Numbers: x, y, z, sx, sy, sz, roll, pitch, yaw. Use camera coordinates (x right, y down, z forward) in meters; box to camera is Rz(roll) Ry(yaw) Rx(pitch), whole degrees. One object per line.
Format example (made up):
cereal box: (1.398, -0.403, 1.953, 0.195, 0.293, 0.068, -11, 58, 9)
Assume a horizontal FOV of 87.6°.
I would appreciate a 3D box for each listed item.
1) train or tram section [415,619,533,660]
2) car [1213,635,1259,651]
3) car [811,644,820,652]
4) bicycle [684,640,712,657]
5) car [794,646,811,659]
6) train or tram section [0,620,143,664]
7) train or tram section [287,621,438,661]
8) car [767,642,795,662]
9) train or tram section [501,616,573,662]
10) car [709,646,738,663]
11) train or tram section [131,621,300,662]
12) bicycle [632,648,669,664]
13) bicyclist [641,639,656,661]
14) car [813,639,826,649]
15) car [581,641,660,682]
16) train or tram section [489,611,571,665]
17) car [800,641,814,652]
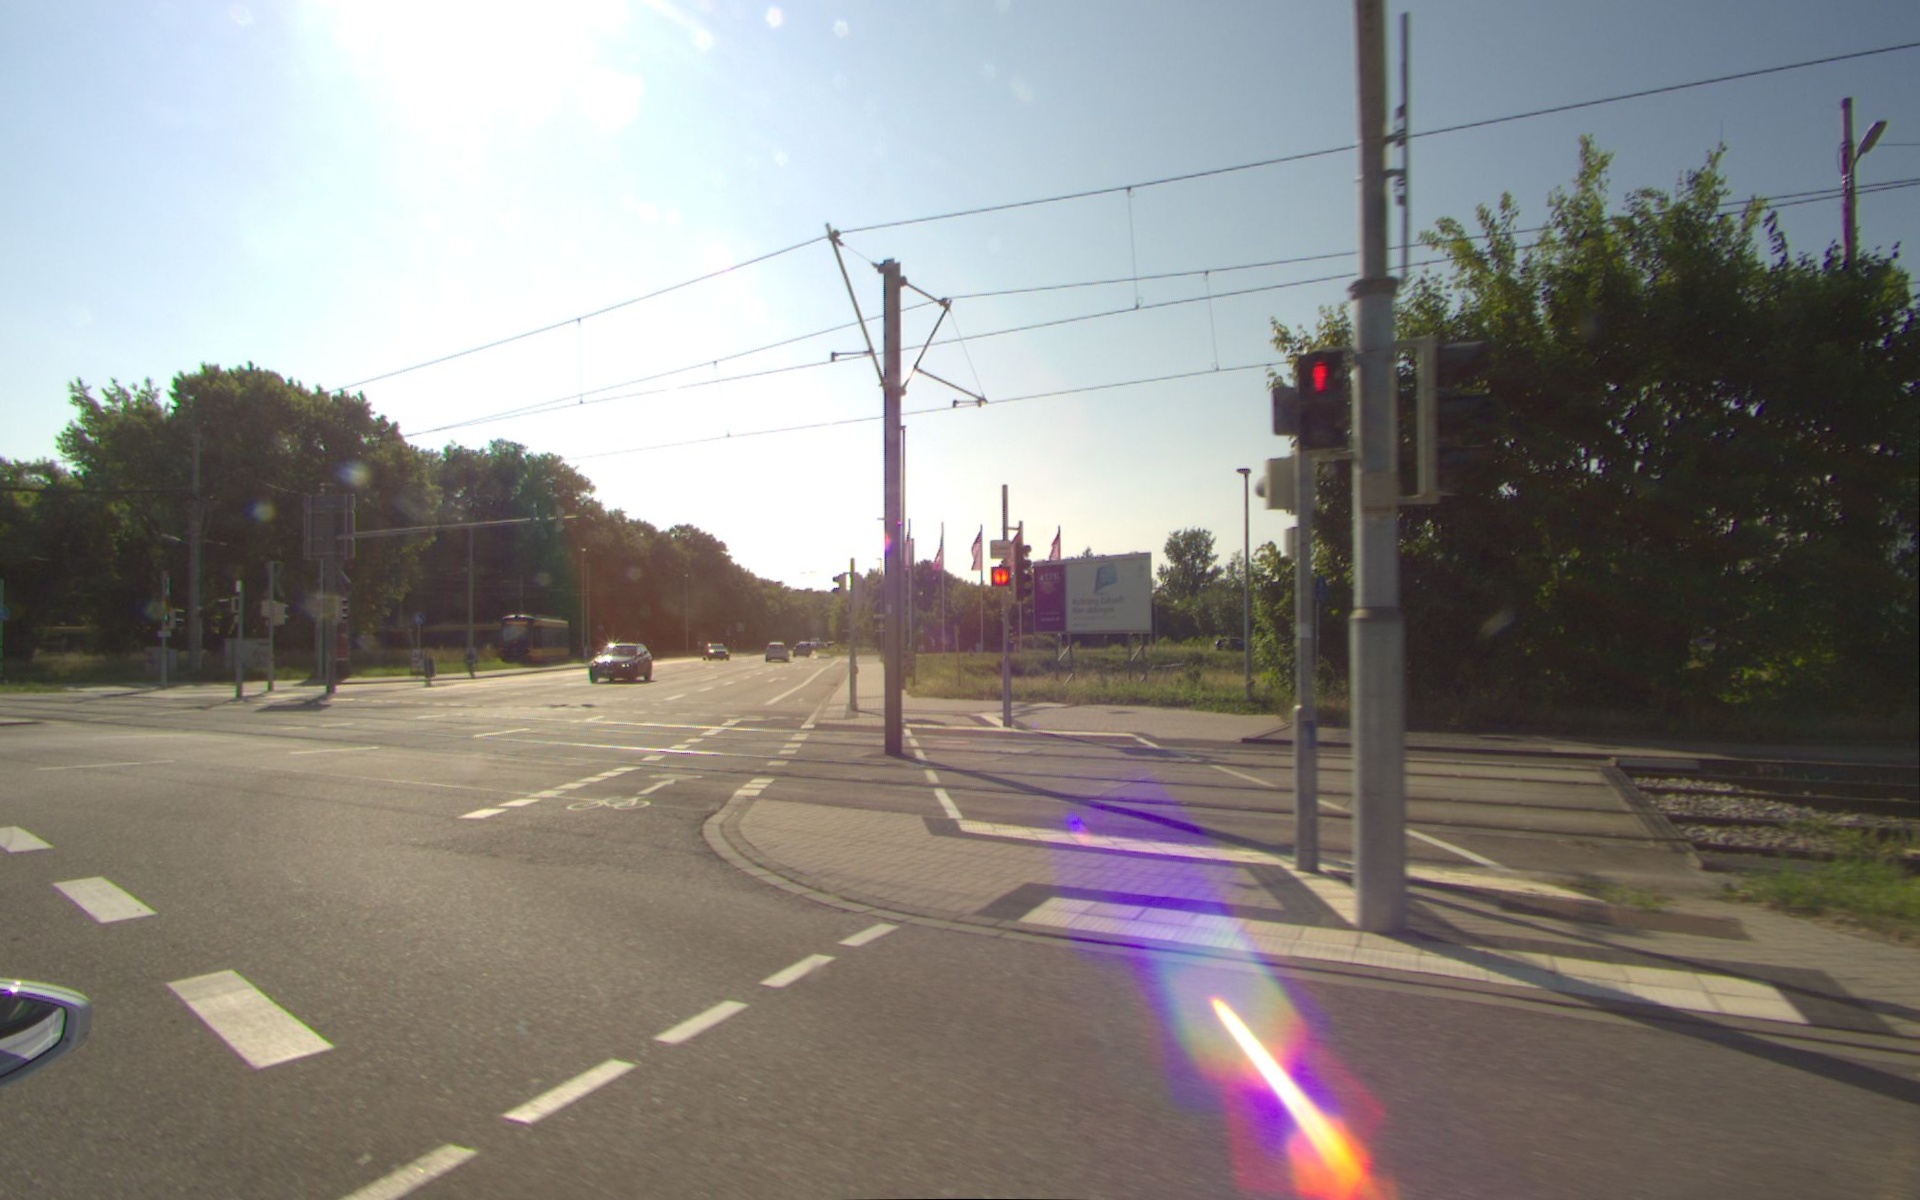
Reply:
train or tram section: (-45.080, 3.651, 92.695, 12.034, 3.625, 3.045, -1, -2, 26)
car: (26.846, 4.185, 97.575, 3.922, 1.616, 2.001, 0, -2, 1)
car: (-25.754, 8.628, 178.369, 1.576, 1.401, 3.531, 0, -2, -7)
bicycle: (-26.696, 4.955, 102.076, 2.562, 1.734, 0.796, 0, -2, -2)
car: (-17.357, 5.788, 110.628, 1.575, 1.401, 3.530, 0, -2, -5)
train or tram section: (-77.846, 3.555, 85.464, 12.280, 3.625, 3.035, 1, -2, -35)
train or tram section: (-56.425, 3.858, 94.923, 11.999, 3.625, 3.054, 0, -2, -9)
car: (-15.112, 4.360, 84.638, 1.820, 1.582, 4.206, 0, -2, -3)
train or tram section: (-36.072, 3.345, 85.039, 3.016, 3.624, 12.148, 1, -3, -36)
car: (-20.670, 4.756, 87.632, 1.715, 1.351, 4.309, 0, -2, -3)
train or tram section: (-67.819, 3.782, 91.718, 12.054, 3.625, 3.040, 1, -2, -30)
bicycle: (-29.645, 5.370, 95.981, 3.166, 1.472, 1.132, -1, -3, 2)
bicyclist: (-29.828, 4.779, 96.000, 1.077, 2.038, 1.141, -1, -2, 2)
car: (-29.259, 9.120, 208.055, 2.398, 2.104, 4.789, 0, -2, -5)
car: (-14.577, 2.614, 43.296, 2.005, 1.583, 4.863, 0, -1, -3)
train or tram section: (-31.378, 2.816, 73.684, 2.997, 3.624, 11.849, 0, -2, -10)
car: (-19.932, 6.078, 130.584, 1.575, 1.401, 3.530, 0, -2, -5)
